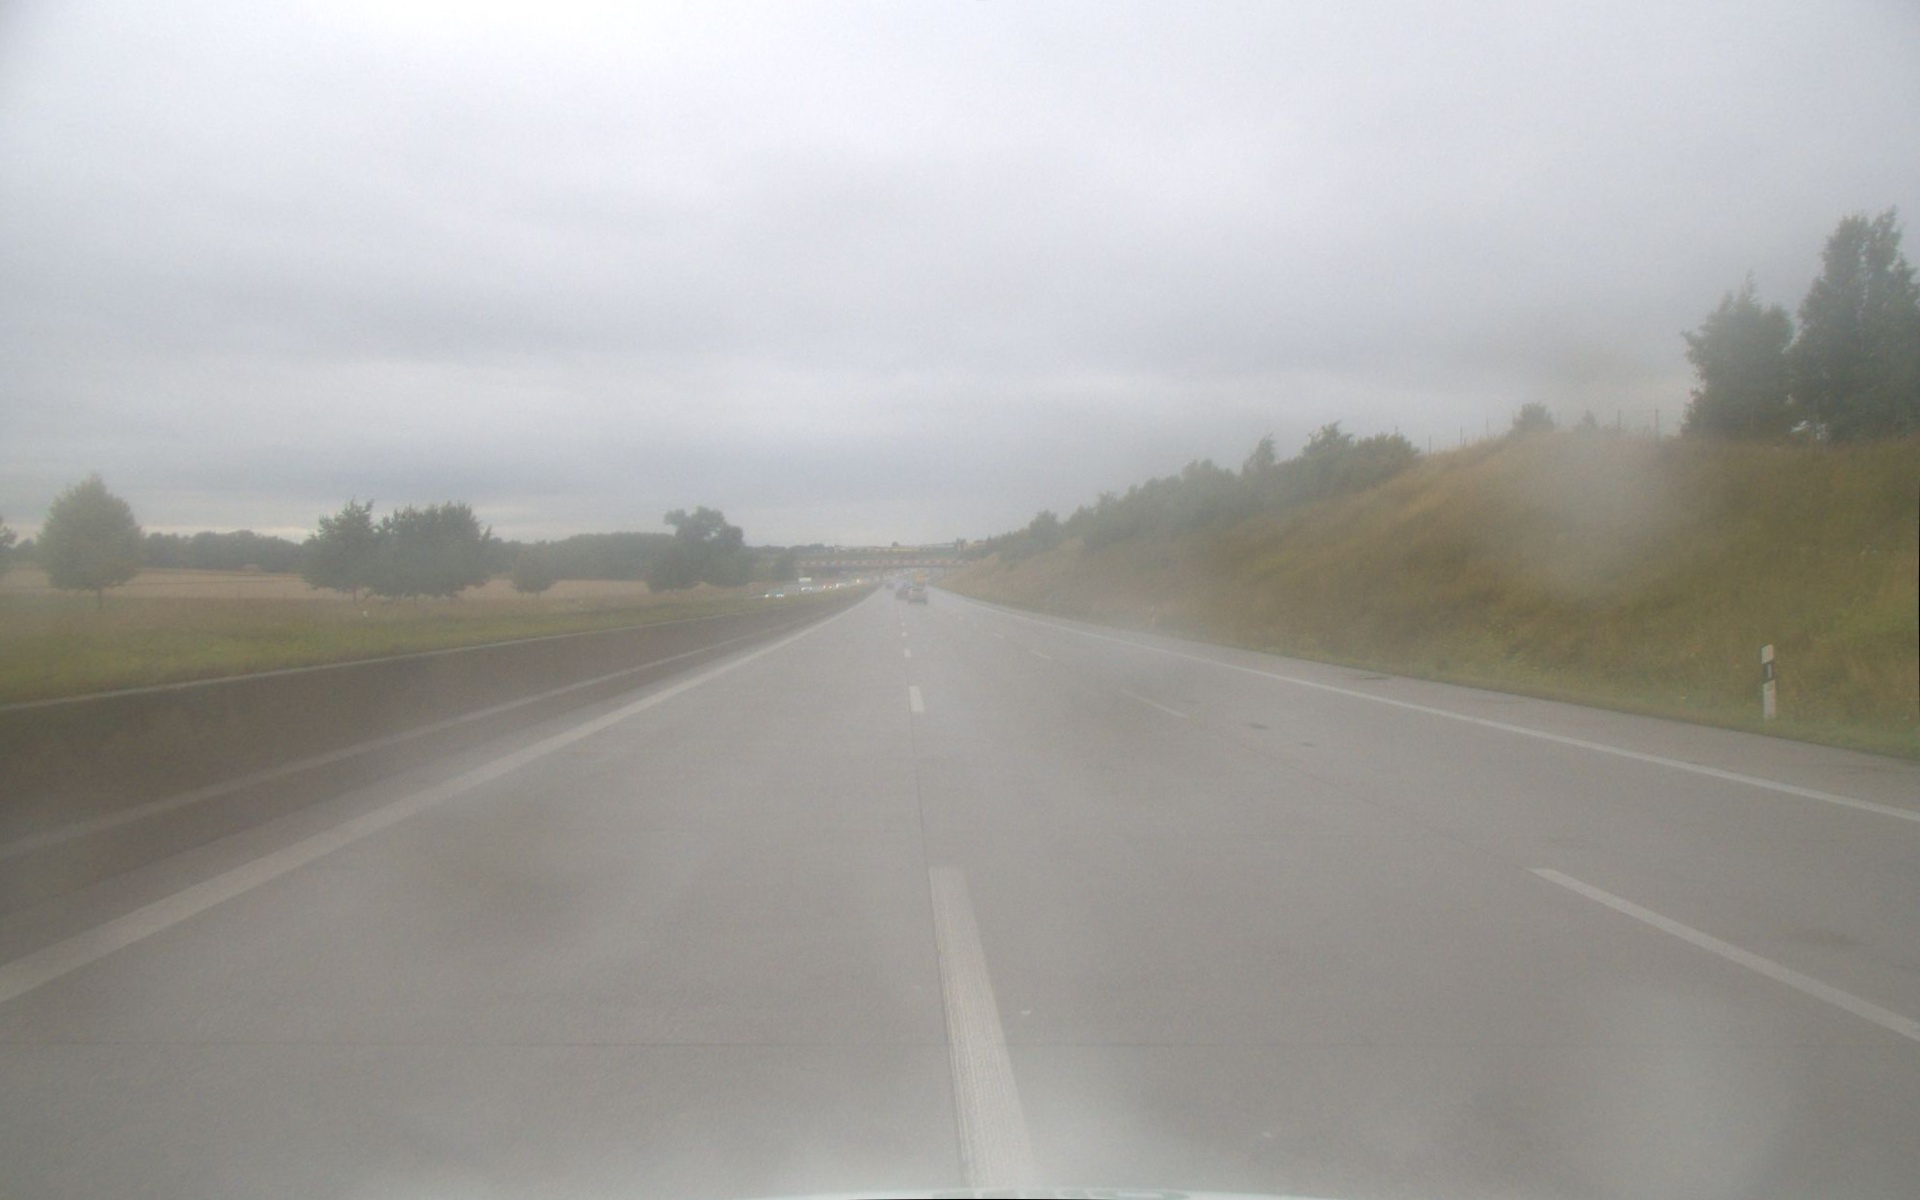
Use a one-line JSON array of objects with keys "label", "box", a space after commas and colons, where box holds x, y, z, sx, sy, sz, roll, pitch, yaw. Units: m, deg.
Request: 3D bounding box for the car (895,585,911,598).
[{"label": "car", "box": [-6.502, -0.995, 188.893, 1.694, 1.354, 4.429, 1, 2, -2]}]

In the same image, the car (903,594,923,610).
[{"label": "car", "box": [-4.520, 0.184, 159.310, 1.811, 1.354, 4.427, 1, 2, -3]}]
